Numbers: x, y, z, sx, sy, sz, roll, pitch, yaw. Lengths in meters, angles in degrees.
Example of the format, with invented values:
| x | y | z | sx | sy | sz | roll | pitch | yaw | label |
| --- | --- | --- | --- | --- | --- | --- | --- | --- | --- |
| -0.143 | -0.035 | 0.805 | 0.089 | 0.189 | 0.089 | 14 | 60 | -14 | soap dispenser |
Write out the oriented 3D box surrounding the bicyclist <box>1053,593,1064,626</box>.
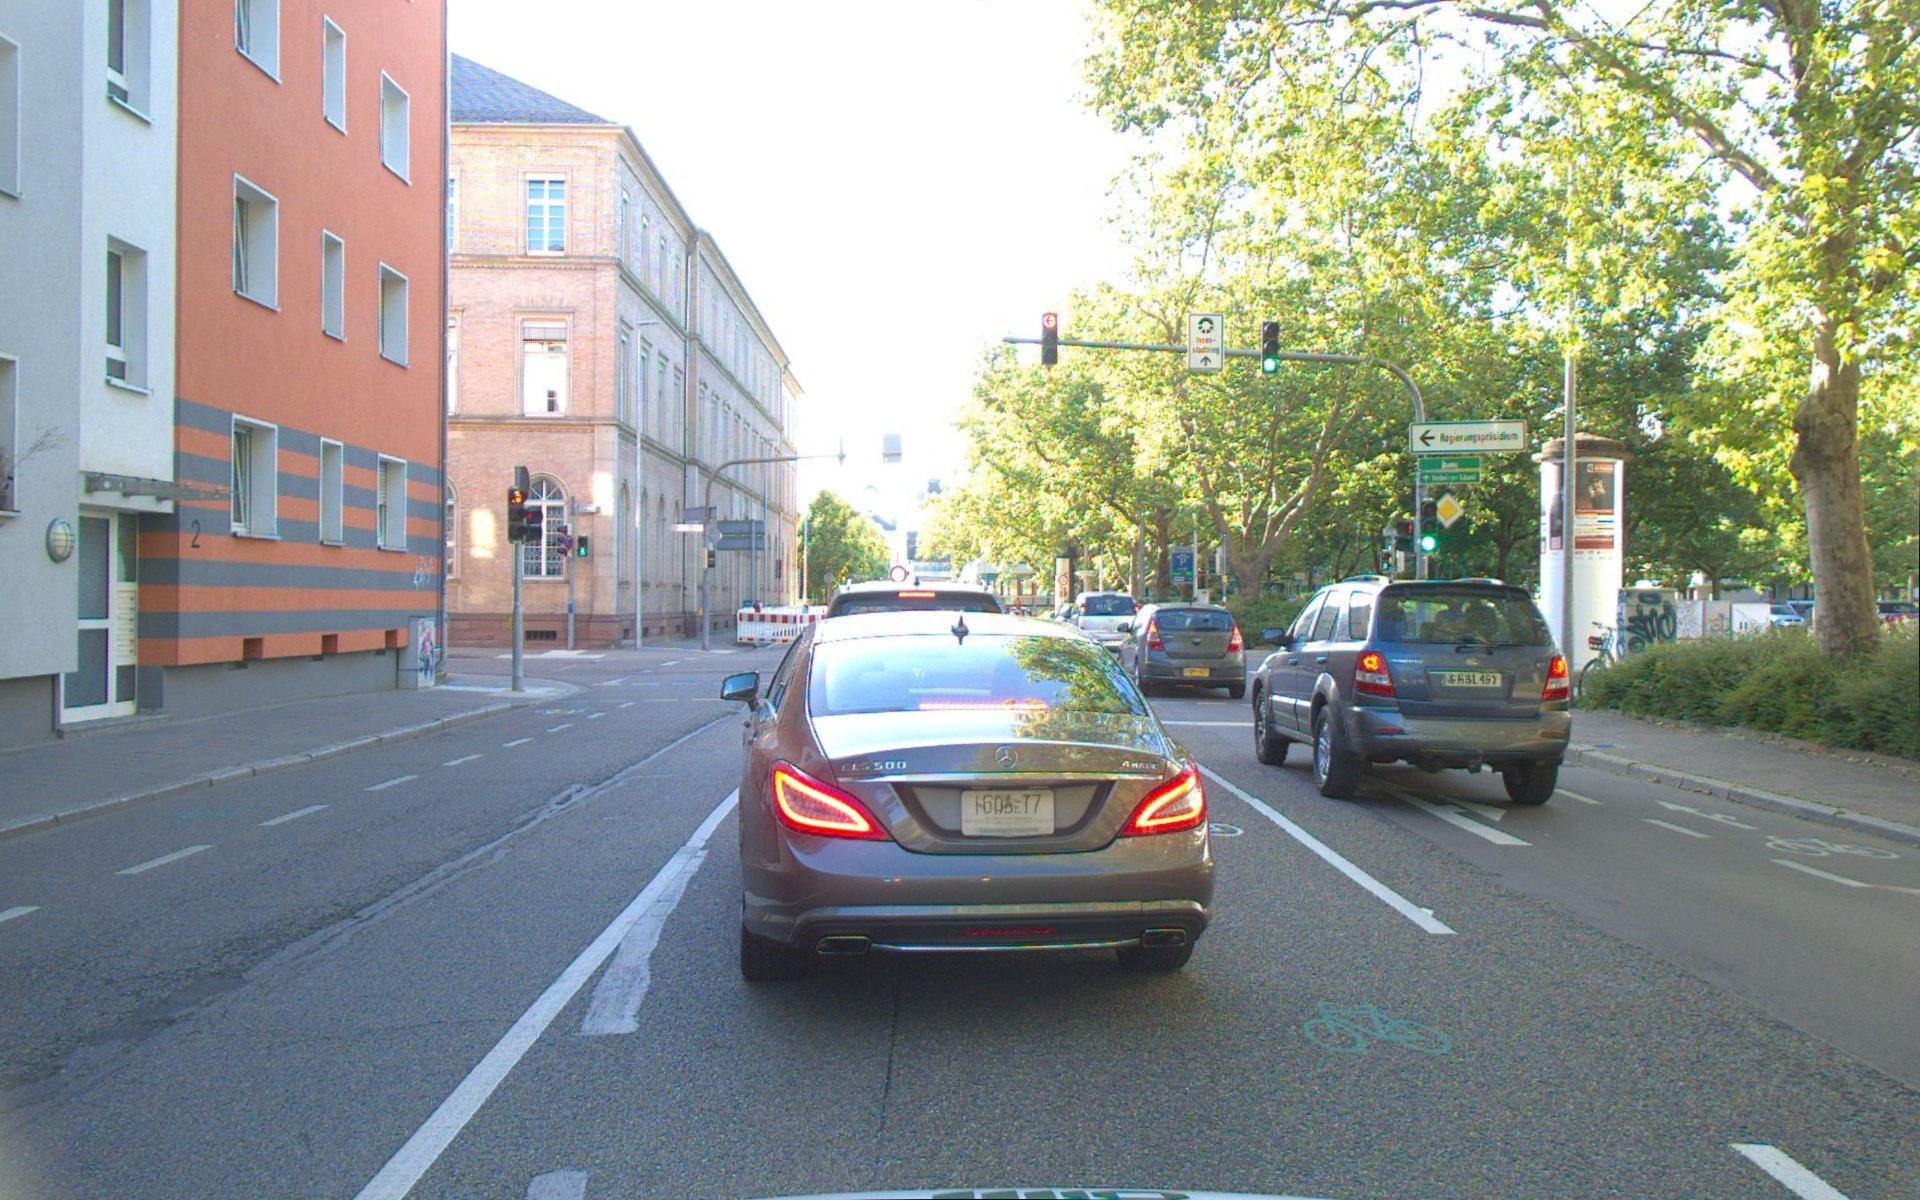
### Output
| x | y | z | sx | sy | sz | roll | pitch | yaw | label |
| --- | --- | --- | --- | --- | --- | --- | --- | --- | --- |
| 6.263 | 0.601 | 105.010 | 0.583 | 2.075 | 0.565 | 1 | -1 | -5 | bicyclist |

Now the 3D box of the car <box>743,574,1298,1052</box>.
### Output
| x | y | z | sx | sy | sz | roll | pitch | yaw | label |
| --- | --- | --- | --- | --- | --- | --- | --- | --- | --- |
| -0.036 | 0.689 | 7.465 | 1.826 | 1.545 | 3.993 | 1 | 0 | -8 | car |

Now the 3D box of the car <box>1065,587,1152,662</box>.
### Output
| x | y | z | sx | sy | sz | roll | pitch | yaw | label |
| --- | --- | --- | --- | --- | --- | --- | --- | --- | --- |
| 3.517 | 0.566 | 39.712 | 1.696 | 1.691 | 3.680 | 1 | 0 | -1 | car |

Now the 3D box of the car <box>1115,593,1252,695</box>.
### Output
| x | y | z | sx | sy | sz | roll | pitch | yaw | label |
| --- | --- | --- | --- | --- | --- | --- | --- | --- | --- |
| 3.634 | 0.675 | 27.493 | 1.670 | 1.545 | 3.999 | 1 | 0 | -1 | car |

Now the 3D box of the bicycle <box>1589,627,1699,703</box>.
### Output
| x | y | z | sx | sy | sz | roll | pitch | yaw | label |
| --- | --- | --- | --- | --- | --- | --- | --- | --- | --- |
| 9.869 | 0.921 | 23.837 | 1.868 | 1.046 | 0.633 | 1 | -1 | -39 | bicycle |

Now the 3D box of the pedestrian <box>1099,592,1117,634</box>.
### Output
| x | y | z | sx | sy | sz | roll | pitch | yaw | label |
| --- | --- | --- | --- | --- | --- | --- | --- | --- | --- |
| 6.350 | 0.565 | 70.944 | 0.623 | 1.791 | 0.698 | 1 | -1 | -5 | pedestrian |

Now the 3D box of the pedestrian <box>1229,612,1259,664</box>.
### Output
| x | y | z | sx | sy | sz | roll | pitch | yaw | label |
| --- | --- | --- | --- | --- | --- | --- | --- | --- | --- |
| 8.824 | 1.173 | 51.426 | 0.624 | 1.572 | 0.908 | 1 | 0 | -9 | pedestrian |

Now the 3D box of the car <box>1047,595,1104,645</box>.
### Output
| x | y | z | sx | sy | sz | roll | pitch | yaw | label |
| --- | --- | --- | --- | --- | --- | --- | --- | --- | --- |
| 3.818 | 0.661 | 55.141 | 1.568 | 1.576 | 3.680 | 1 | 0 | -1 | car |

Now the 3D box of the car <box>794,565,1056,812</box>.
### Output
| x | y | z | sx | sy | sz | roll | pitch | yaw | label |
| --- | --- | --- | --- | --- | --- | --- | --- | --- | --- |
| -0.272 | 0.618 | 13.592 | 1.823 | 1.712 | 3.999 | 1 | 0 | -1 | car |

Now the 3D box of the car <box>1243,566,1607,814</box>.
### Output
| x | y | z | sx | sy | sz | roll | pitch | yaw | label |
| --- | --- | --- | --- | --- | --- | --- | --- | --- | --- |
| 3.785 | 0.652 | 14.319 | 1.823 | 1.794 | 4.481 | 1 | 0 | -1 | car |
